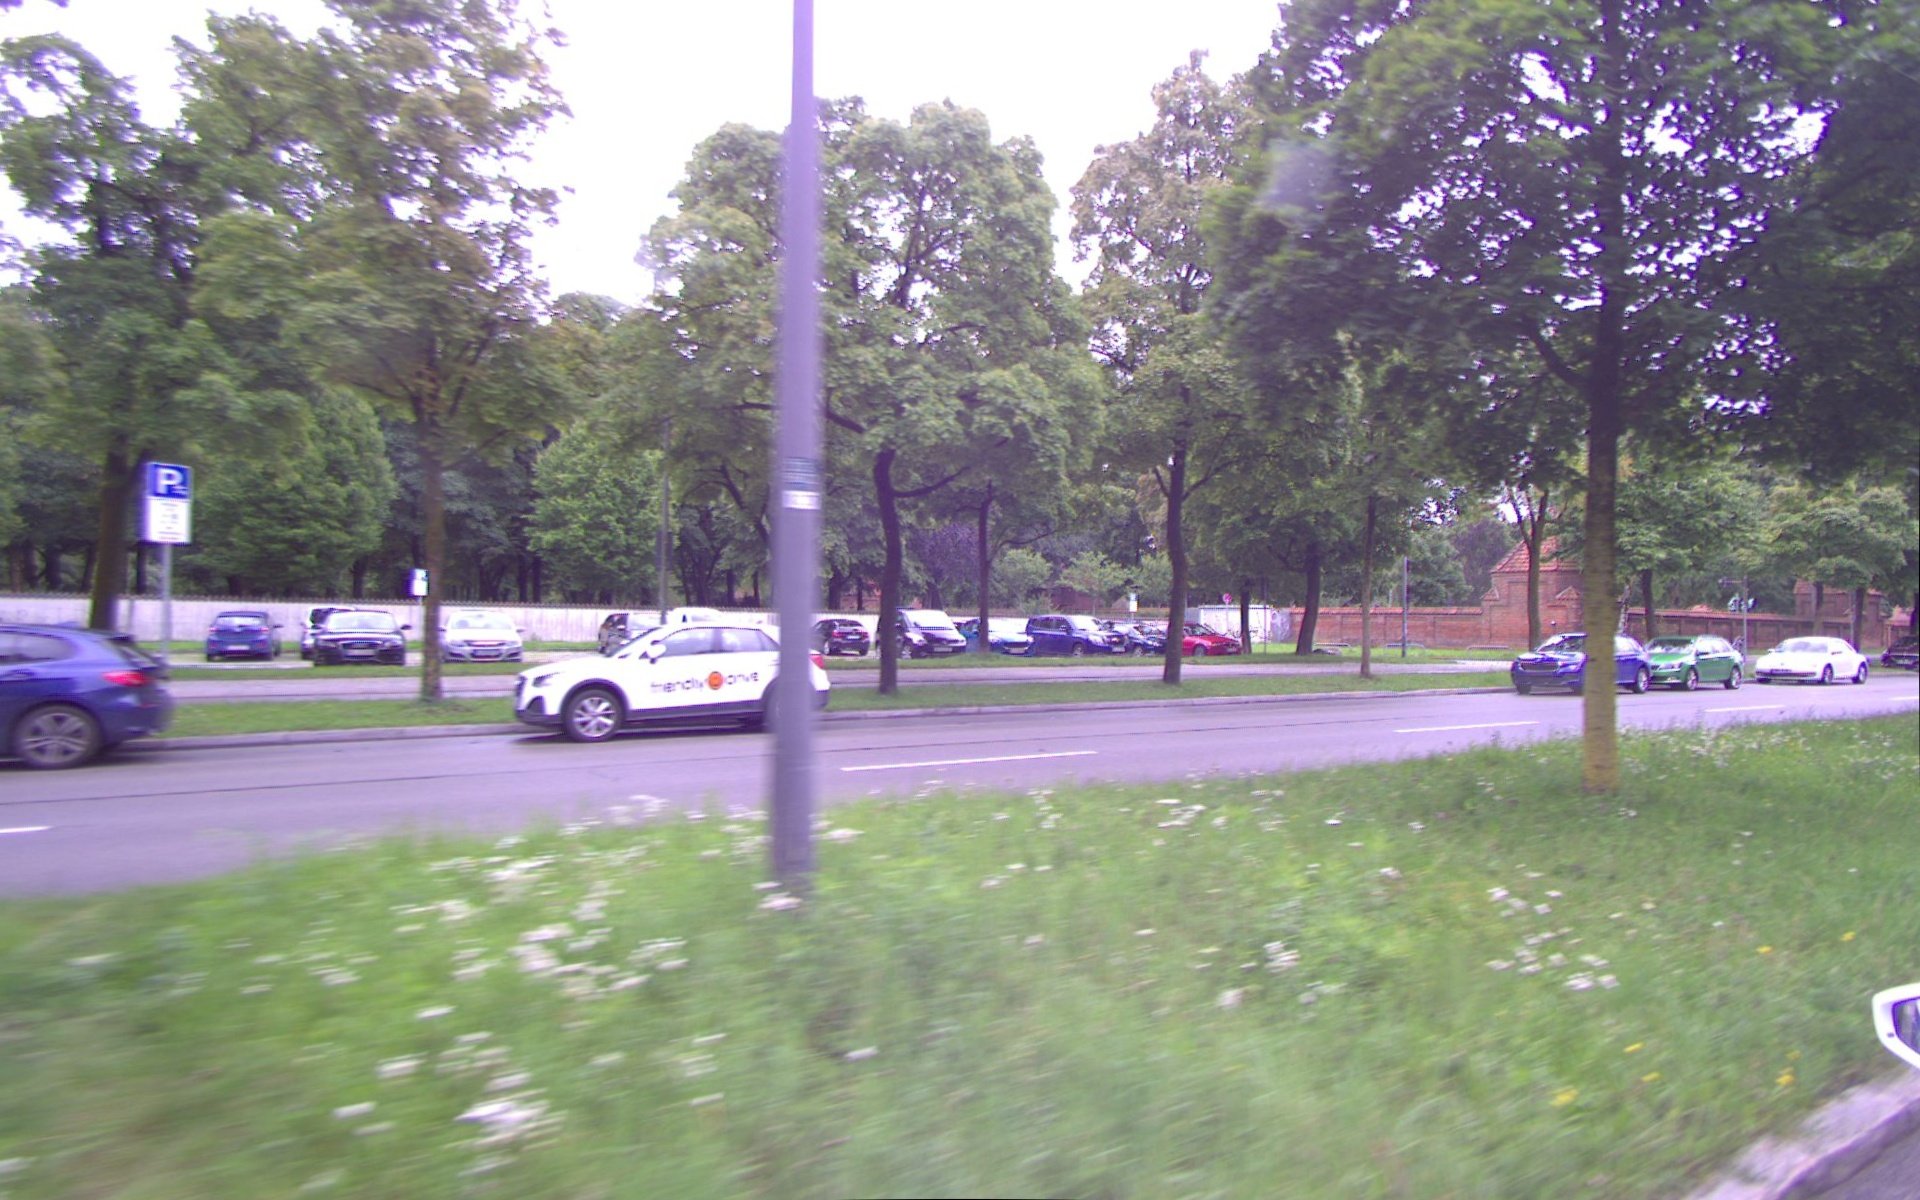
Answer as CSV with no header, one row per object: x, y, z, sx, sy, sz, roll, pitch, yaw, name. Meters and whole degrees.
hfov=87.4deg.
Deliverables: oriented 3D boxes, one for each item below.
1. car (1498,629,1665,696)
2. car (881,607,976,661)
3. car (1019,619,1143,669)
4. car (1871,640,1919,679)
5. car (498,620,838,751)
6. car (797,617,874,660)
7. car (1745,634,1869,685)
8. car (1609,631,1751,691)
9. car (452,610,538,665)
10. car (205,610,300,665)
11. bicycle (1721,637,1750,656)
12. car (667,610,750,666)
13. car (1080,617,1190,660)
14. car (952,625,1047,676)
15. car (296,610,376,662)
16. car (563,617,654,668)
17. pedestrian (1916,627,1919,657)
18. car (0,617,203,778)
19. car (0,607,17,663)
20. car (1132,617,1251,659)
15.678,1.539,25.296,4.267,1.557,1.876,1,-3,-33,car
-1.050,1.010,30.923,1.968,1.525,3.986,1,-1,-17,car
3.992,1.426,33.817,1.977,1.525,4.328,1,-1,-30,car
40.906,2.512,42.954,4.250,1.557,1.804,1,0,-32,car
-3.938,1.097,13.716,4.096,1.510,1.847,2,-1,-32,car
-5.301,1.593,42.291,1.795,1.557,3.967,1,1,-31,car
27.326,1.890,32.387,4.265,1.557,1.753,1,-3,-31,car
20.035,1.666,27.912,4.265,1.557,1.631,1,-3,-31,car
-11.389,0.864,24.506,1.760,1.225,3.973,1,-1,-27,car
-22.326,1.131,31.844,1.746,1.617,3.975,1,-1,-25,car
38.693,2.321,50.112,1.602,0.949,0.651,1,-1,-33,bicycle
-9.902,1.455,39.300,1.977,2.061,4.484,1,-2,-30,car
6.131,1.317,35.663,1.738,1.410,3.959,1,-1,-29,car
1.228,1.614,33.105,1.968,1.525,3.986,1,-1,-17,car
-20.477,1.144,33.115,1.746,1.617,3.975,1,-1,-25,car
-9.399,1.076,26.647,1.760,1.225,4.159,1,-1,-27,car
50.014,2.177,51.737,0.778,1.588,0.777,1,-1,6,pedestrian
-10.341,0.931,10.042,4.205,1.510,1.847,2,-1,-32,car
-28.180,0.993,28.126,1.750,1.617,3.966,1,-1,-31,car
8.373,1.351,36.732,1.738,1.410,4.393,1,-1,-29,car
